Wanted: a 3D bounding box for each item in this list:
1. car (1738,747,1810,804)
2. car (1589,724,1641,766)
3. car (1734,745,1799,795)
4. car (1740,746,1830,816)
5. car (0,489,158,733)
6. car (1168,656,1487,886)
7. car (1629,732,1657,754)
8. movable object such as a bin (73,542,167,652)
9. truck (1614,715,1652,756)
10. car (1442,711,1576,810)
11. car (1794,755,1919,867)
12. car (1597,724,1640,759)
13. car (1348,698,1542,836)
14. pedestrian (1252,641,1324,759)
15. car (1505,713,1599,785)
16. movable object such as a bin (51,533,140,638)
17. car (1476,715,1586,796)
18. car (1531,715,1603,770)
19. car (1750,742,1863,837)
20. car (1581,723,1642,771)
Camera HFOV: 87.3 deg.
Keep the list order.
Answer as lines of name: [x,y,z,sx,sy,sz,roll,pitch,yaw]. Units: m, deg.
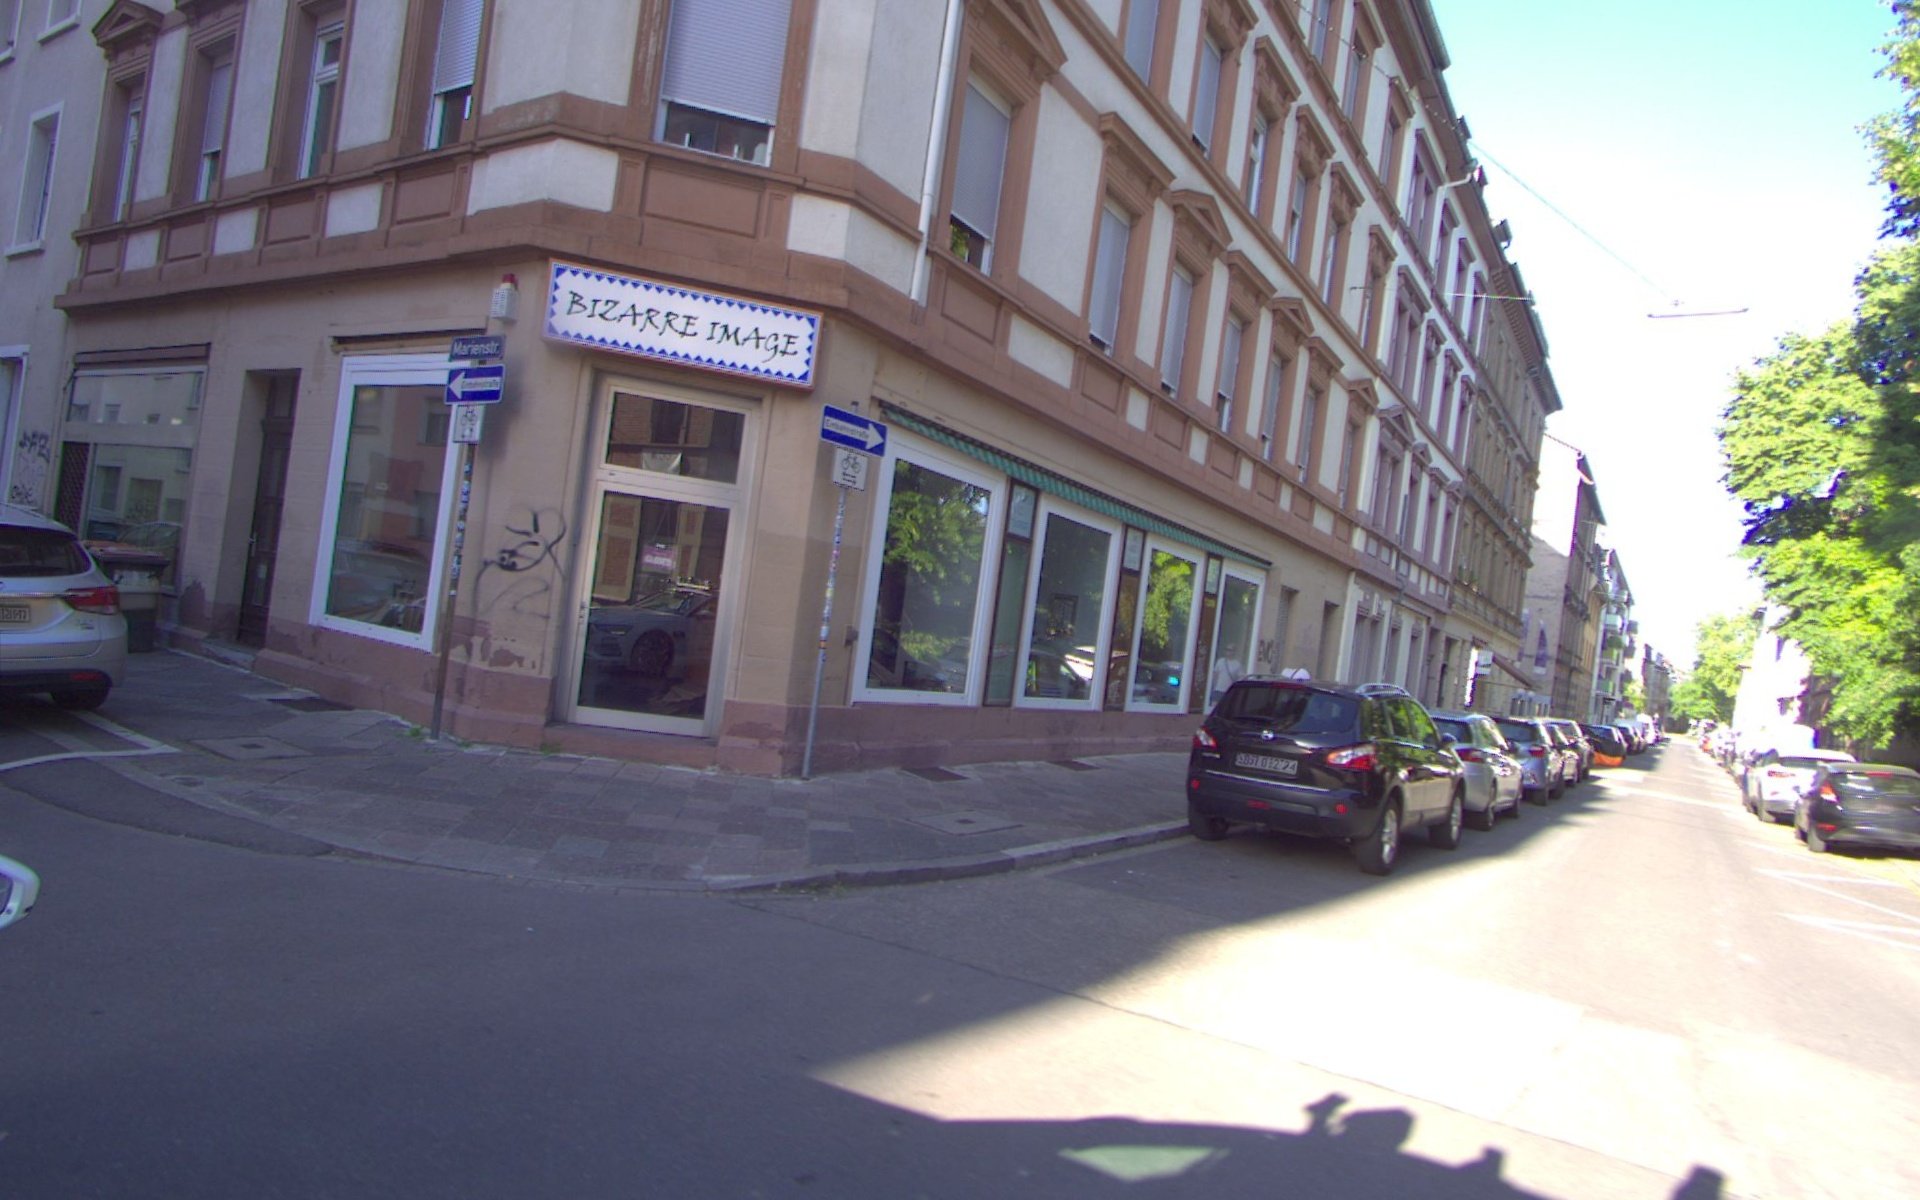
car: [25.927,5.568,32.130,1.609,1.489,3.533,4,-4,38]
car: [29.014,6.400,44.529,1.609,1.570,3.884,4,-4,37]
car: [28.737,6.034,35.917,1.609,1.489,3.533,4,-4,38]
car: [21.775,4.738,26.651,1.609,1.489,3.533,4,-4,38]
car: [-7.896,-0.148,7.320,4.284,1.525,1.746,7,0,31]
car: [3.763,1.568,9.852,1.736,1.626,3.921,4,-4,38]
car: [54.954,11.512,80.917,1.609,1.570,3.884,4,-4,37]
movable object such as a bin: [-8.753,-0.025,10.487,0.609,1.053,0.514,7,1,32]
truck: [41.039,8.276,61.326,1.609,2.239,4.355,4,-4,37]
car: [10.403,2.994,18.941,1.609,1.489,3.533,4,-4,38]
car: [15.253,3.482,16.943,1.609,1.489,3.533,4,-4,38]
car: [34.871,7.503,53.244,1.609,1.570,3.884,4,-4,37]
car: [6.909,2.290,14.124,1.609,1.489,3.857,4,-4,38]
pedestrian: [5.878,1.785,17.997,0.787,1.942,0.716,10,0,31]
car: [15.822,3.956,26.812,1.609,1.570,3.883,4,-4,38]
movable object such as a bin: [-9.360,-0.151,10.898,0.584,1.053,0.514,7,1,32]
car: [13.102,3.532,22.982,1.609,1.489,3.691,4,-4,38]
car: [20.792,4.885,34.389,1.609,1.570,3.883,4,-4,38]
car: [18.224,4.030,21.789,1.609,1.667,3.533,4,-4,38]
car: [25.071,5.640,38.661,1.609,1.570,3.884,4,-4,37]
